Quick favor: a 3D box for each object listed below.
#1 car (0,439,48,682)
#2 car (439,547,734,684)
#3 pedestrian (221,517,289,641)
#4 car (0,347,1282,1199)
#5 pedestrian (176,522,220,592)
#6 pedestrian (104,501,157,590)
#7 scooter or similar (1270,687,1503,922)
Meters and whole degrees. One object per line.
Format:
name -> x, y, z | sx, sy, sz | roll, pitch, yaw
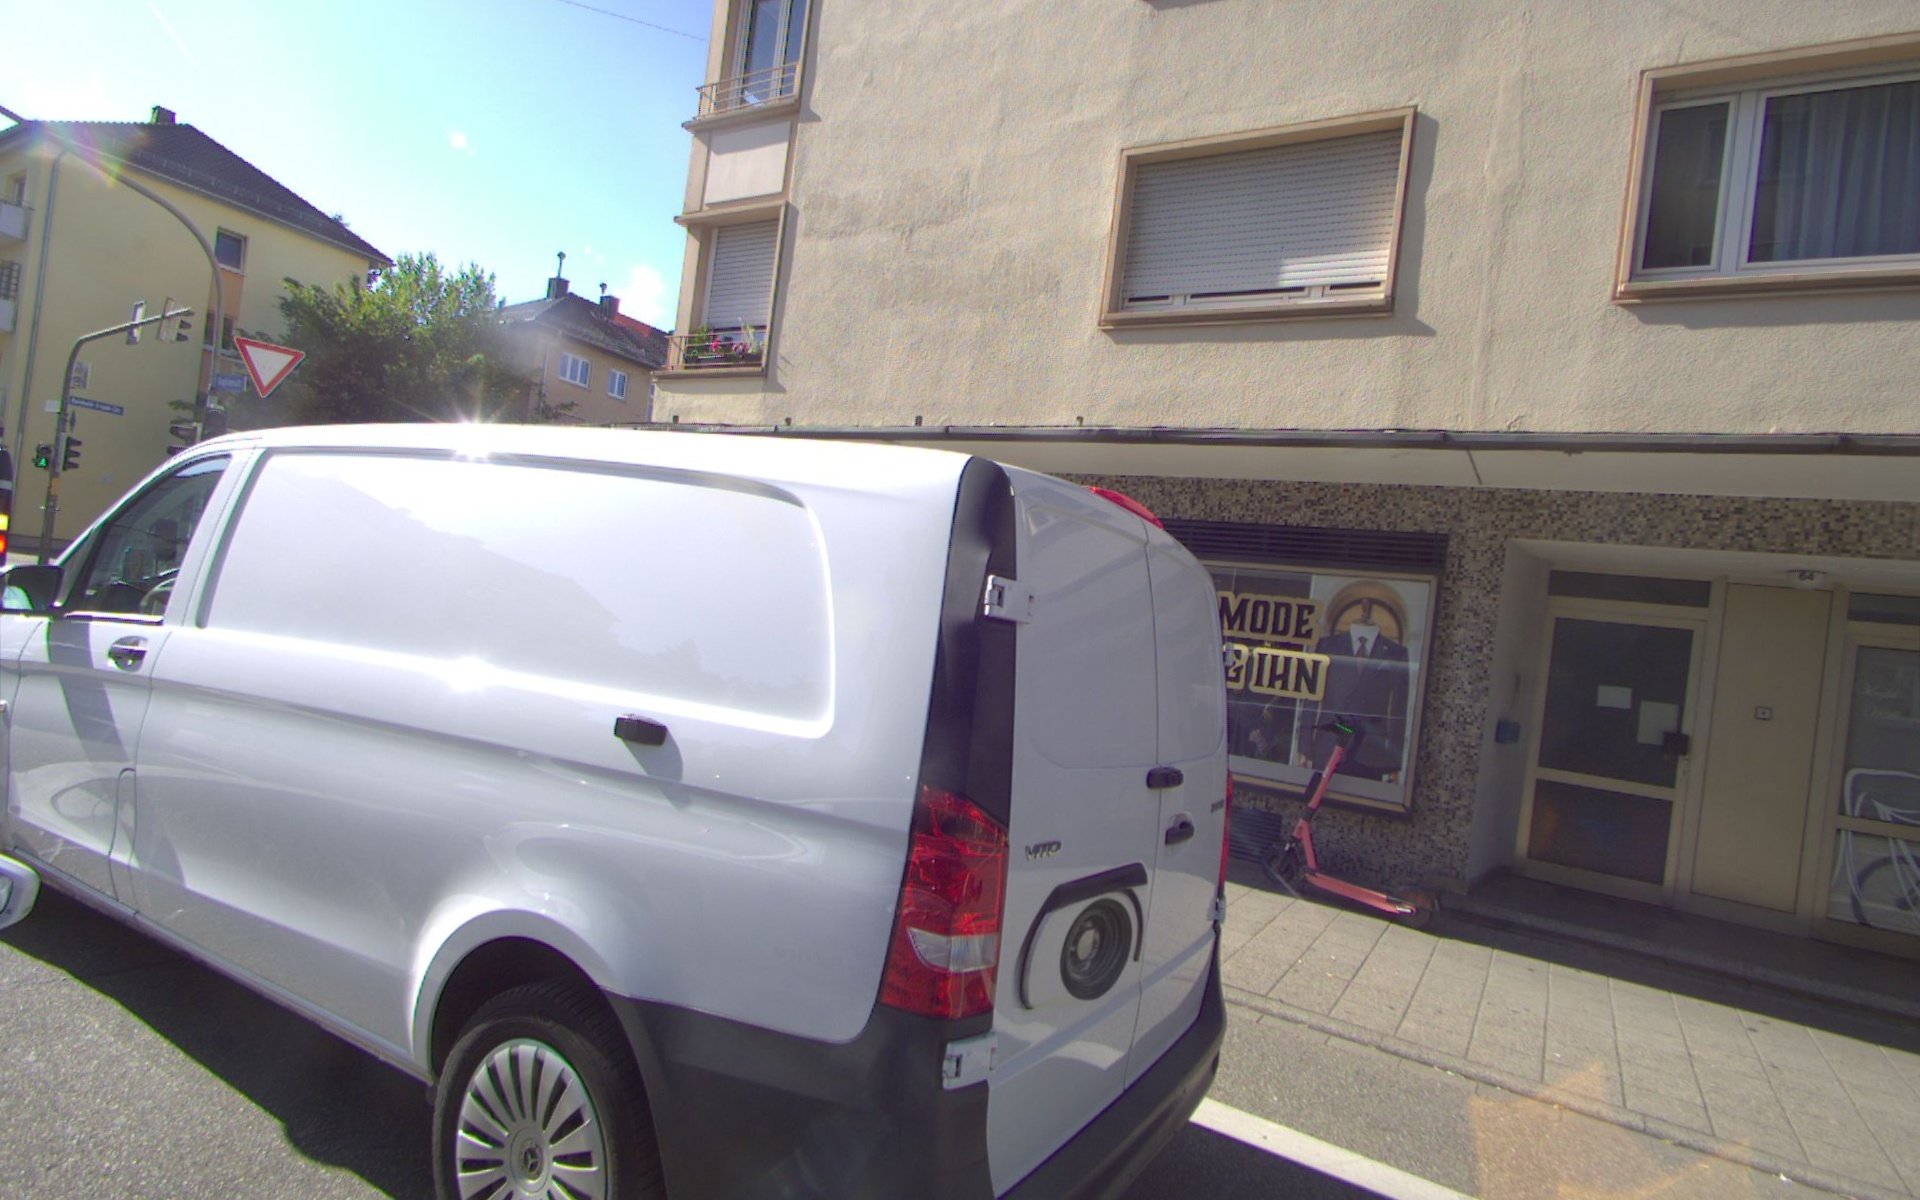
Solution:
car -> -10.328, -0.632, 8.917 | 4.974, 1.961, 1.972 | 6, -3, 33
car -> -5.756, 0.335, 15.967 | 1.795, 1.682, 3.994 | 7, -2, 32
pedestrian -> -11.075, -0.332, 15.807 | 0.620, 1.844, 0.602 | 7, 0, 45
car -> -1.603, 0.403, 3.542 | 4.751, 1.831, 1.972 | 6, -1, 31
pedestrian -> -18.351, -1.034, 24.223 | 0.530, 1.590, 0.540 | 7, 0, 32
pedestrian -> -17.689, -1.160, 21.460 | 0.612, 1.783, 0.526 | 7, 0, 30
scooter or similar -> 2.775, 1.277, 6.567 | 1.208, 1.239, 0.526 | 7, 0, 32
